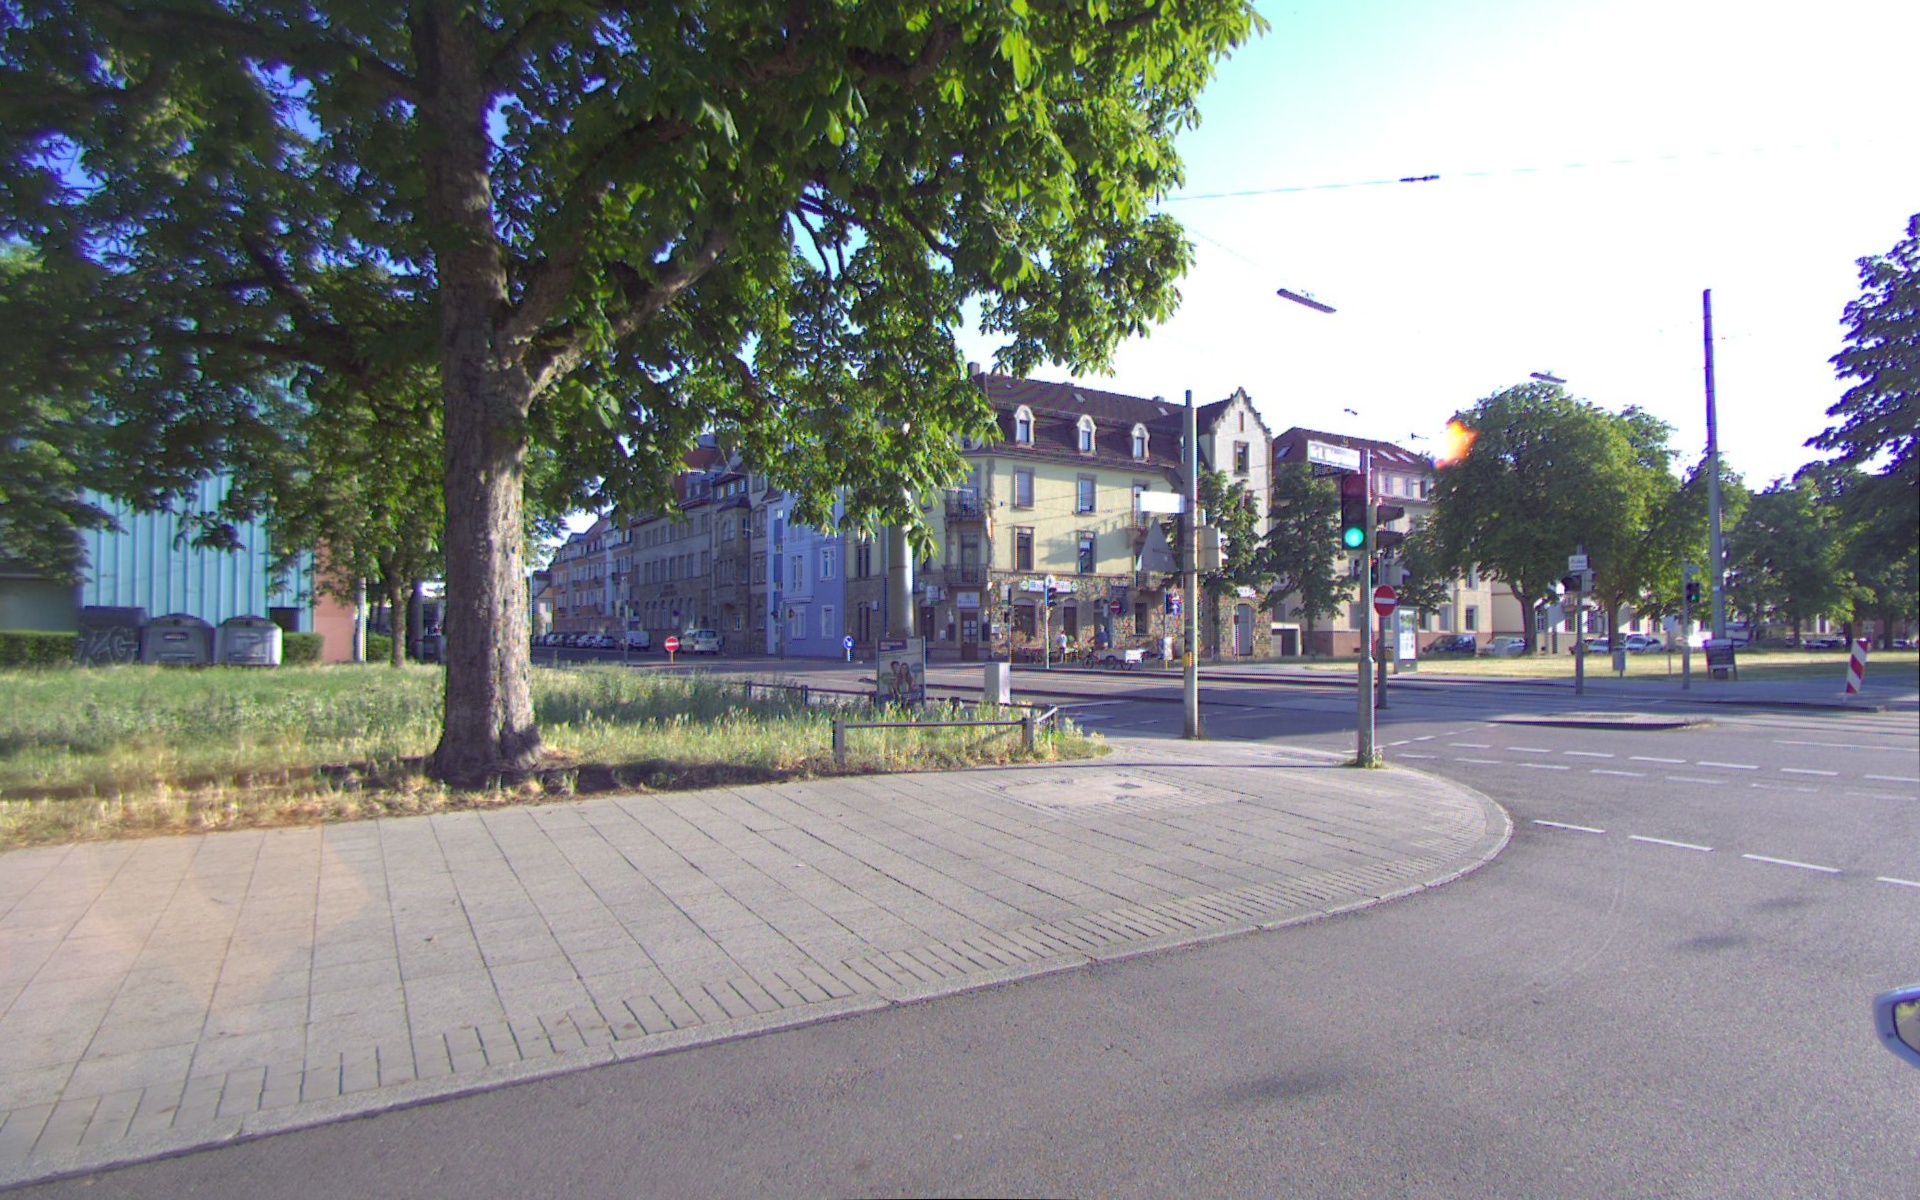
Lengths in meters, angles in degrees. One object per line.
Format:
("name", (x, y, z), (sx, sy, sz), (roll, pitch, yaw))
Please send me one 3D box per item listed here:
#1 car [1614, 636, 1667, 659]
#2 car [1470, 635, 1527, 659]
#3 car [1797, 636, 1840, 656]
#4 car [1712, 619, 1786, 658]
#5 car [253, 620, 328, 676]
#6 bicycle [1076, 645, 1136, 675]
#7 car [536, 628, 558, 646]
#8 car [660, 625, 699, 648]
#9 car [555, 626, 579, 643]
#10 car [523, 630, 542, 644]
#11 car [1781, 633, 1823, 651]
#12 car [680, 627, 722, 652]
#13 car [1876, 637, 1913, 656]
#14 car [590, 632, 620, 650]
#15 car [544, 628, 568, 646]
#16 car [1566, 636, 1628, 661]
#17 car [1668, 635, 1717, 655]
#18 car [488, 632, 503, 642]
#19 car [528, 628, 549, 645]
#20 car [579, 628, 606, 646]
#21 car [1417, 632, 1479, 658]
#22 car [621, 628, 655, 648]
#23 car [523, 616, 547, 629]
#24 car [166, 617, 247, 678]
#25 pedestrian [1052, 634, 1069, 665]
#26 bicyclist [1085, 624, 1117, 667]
("car", (51.472, 3.584, 76.009), (4.372, 1.575, 1.785), (1, 0, -34))
("car", (40.838, 3.567, 76.183), (3.953, 1.681, 1.984), (2, -1, -30))
("car", (80.767, 4.310, 94.468), (4.266, 1.696, 1.870), (2, -1, -31))
("car", (67.812, 3.315, 86.293), (7.764, 3.173, 2.379), (1, 1, -32))
("car", (-22.929, 1.610, 34.462), (1.979, 1.693, 5.175), (2, -1, -33))
("bicycle", (6.030, 2.462, 41.640), (0.863, 1.176, 3.063), (2, -3, -26))
("car", (-52.077, 4.633, 126.566), (1.789, 2.040, 3.772), (2, -1, -33))
("car", (-23.178, 2.968, 82.879), (1.980, 1.763, 3.962), (1, -1, -34))
("car", (-46.064, 4.065, 117.641), (1.782, 1.855, 3.755), (2, -1, -34))
("car", (-57.306, 4.910, 134.762), (1.713, 1.694, 3.638), (2, -1, -33))
("car", (86.998, 4.314, 103.782), (4.323, 1.681, 1.984), (2, -1, -30))
("car", (-20.148, 3.088, 78.127), (2.011, 1.760, 3.743), (2, -1, -34))
("car", (97.716, 4.851, 105.004), (4.075, 1.804, 1.802), (2, -1, -31))
("car", (-36.652, 4.225, 103.592), (1.980, 1.693, 3.743), (2, -1, -34))
("car", (-49.098, 4.452, 121.995), (1.805, 2.040, 3.924), (2, -1, -34))
("car", (46.338, 3.532, 73.034), (4.517, 1.681, 1.984), (2, -1, -30))
("car", (66.756, 4.118, 91.565), (4.517, 1.681, 1.984), (2, -1, -30))
("car", (-71.803, 5.700, 155.142), (1.534, 1.387, 3.428), (2, -1, -34))
("car", (-54.878, 4.730, 130.801), (1.756, 2.040, 3.790), (2, -1, -34))
("car", (-39.674, 3.965, 108.294), (1.816, 1.692, 3.911), (2, -1, -34))
("car", (35.464, 3.283, 72.947), (4.261, 1.759, 1.984), (2, -1, -30))
("car", (-30.104, 3.570, 93.829), (1.980, 1.693, 3.743), (2, -1, -34))
("car", (-58.815, 3.111, 138.908), (1.912, 1.715, 3.952), (2, 0, -41))
("car", (-24.861, 1.520, 33.289), (1.949, 1.693, 5.171), (2, -1, -35))
("pedestrian", (5.615, 2.760, 56.079), (0.676, 1.646, 0.612), (2, 0, -34))
("bicyclist", (5.892, 1.892, 41.971), (0.864, 1.746, 1.141), (2, -3, -27))
